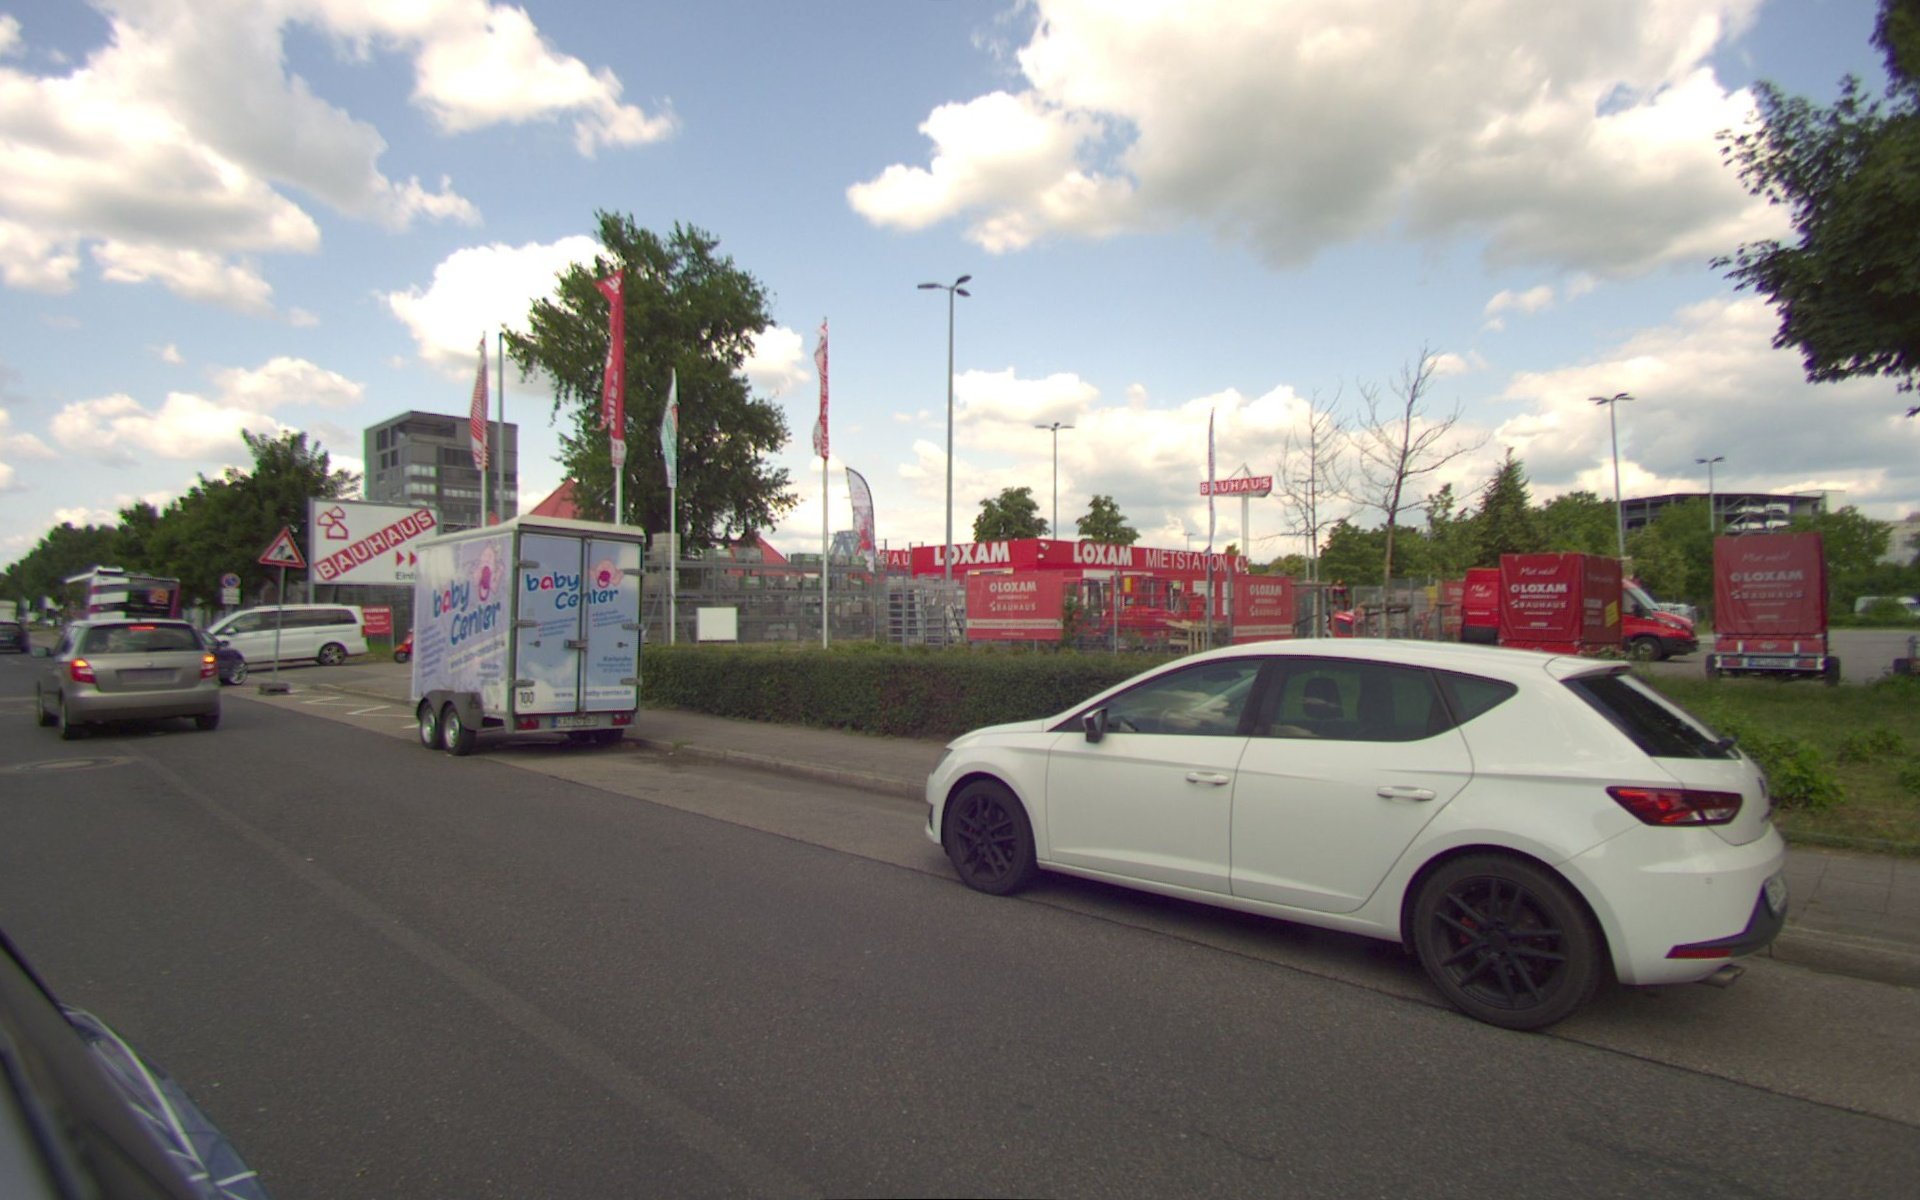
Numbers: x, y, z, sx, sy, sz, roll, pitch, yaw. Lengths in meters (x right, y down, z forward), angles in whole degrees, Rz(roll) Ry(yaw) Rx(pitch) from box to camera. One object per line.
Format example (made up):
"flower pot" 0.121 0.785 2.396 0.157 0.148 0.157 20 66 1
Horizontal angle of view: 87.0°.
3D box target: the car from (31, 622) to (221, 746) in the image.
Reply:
"car" -11.519 1.057 13.900 3.762 1.476 1.573 -2 -3 44

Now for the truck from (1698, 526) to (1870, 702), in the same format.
"truck" 14.446 0.210 17.610 1.780 2.613 5.484 1 0 45

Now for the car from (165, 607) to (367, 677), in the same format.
"car" -21.097 1.214 30.884 4.938 1.964 1.995 0 -1 -40

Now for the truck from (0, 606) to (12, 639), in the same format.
"truck" -113.850 2.595 119.169 7.174 3.751 2.717 -1 -2 44

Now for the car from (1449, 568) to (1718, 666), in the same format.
"car" 18.255 0.408 29.945 2.240 2.613 6.442 0 0 -45

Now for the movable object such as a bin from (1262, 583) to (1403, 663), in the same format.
"movable object such as a bin" 11.335 0.685 30.909 3.547 2.292 1.971 -2 -2 45

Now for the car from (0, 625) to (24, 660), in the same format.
"car" -42.502 1.852 44.347 4.384 1.470 1.777 -2 -3 42

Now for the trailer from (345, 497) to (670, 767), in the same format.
"trailer" -5.898 0.419 12.904 4.704 2.804 2.115 -2 -4 44

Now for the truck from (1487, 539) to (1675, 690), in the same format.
"truck" 12.526 0.246 20.213 5.687 2.613 1.817 0 0 -44

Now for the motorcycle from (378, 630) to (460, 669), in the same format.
"motorcycle" -17.851 1.613 33.437 0.995 1.223 2.196 -2 -2 45

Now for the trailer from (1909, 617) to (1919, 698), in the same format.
"trailer" 15.950 0.871 15.719 1.672 1.129 4.188 1 1 42

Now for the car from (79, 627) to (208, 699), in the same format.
"car" -17.871 1.313 22.331 1.897 1.387 4.390 0 -1 -35

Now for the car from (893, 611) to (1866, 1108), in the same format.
"car" 1.747 0.867 5.172 4.236 1.490 1.746 -2 -4 44

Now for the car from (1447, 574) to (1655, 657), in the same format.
"car" 20.030 0.446 34.511 2.240 2.613 5.727 0 0 -45

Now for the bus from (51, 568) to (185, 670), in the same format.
"bus" -33.917 0.832 40.472 13.223 3.449 2.633 -1 -5 45

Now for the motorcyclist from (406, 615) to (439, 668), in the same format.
"motorcyclist" -17.797 1.361 33.509 0.666 1.736 0.995 1 -2 -45
